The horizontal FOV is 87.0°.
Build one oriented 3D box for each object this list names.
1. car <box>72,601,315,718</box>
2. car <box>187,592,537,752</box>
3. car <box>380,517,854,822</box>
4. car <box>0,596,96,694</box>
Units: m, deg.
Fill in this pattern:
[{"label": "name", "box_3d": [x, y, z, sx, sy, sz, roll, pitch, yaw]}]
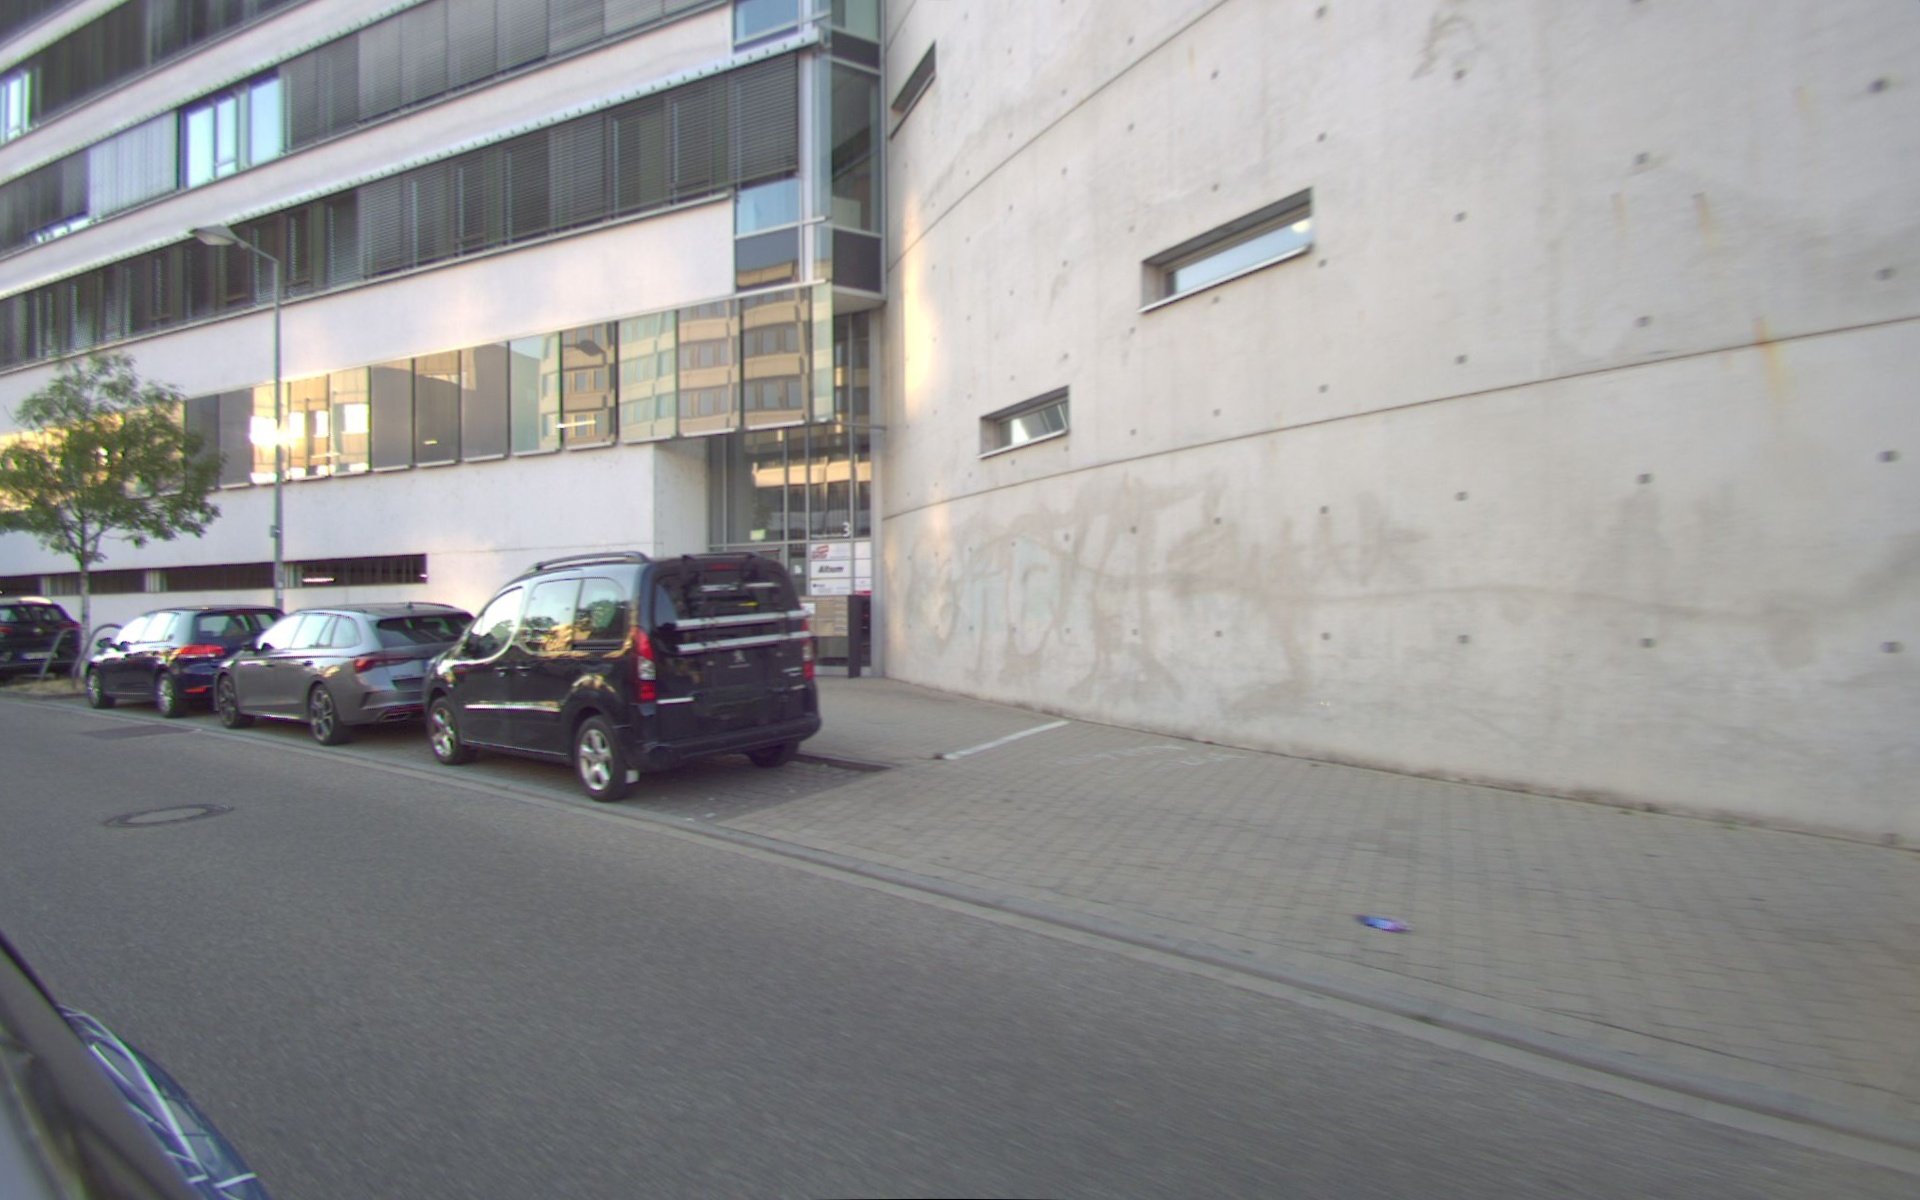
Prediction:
[{"label": "car", "box_3d": [-11.120, 0.809, 14.633, 3.755, 1.488, 1.635, -1, -1, 33]}, {"label": "car", "box_3d": [-7.058, 0.732, 11.782, 4.511, 1.488, 1.844, -1, 1, 36]}, {"label": "car", "box_3d": [-3.171, 0.472, 8.805, 4.516, 1.987, 1.869, -2, 1, 42]}, {"label": "car", "box_3d": [-18.558, 0.831, 19.185, 3.976, 1.699, 1.783, -1, 0, 25]}]
